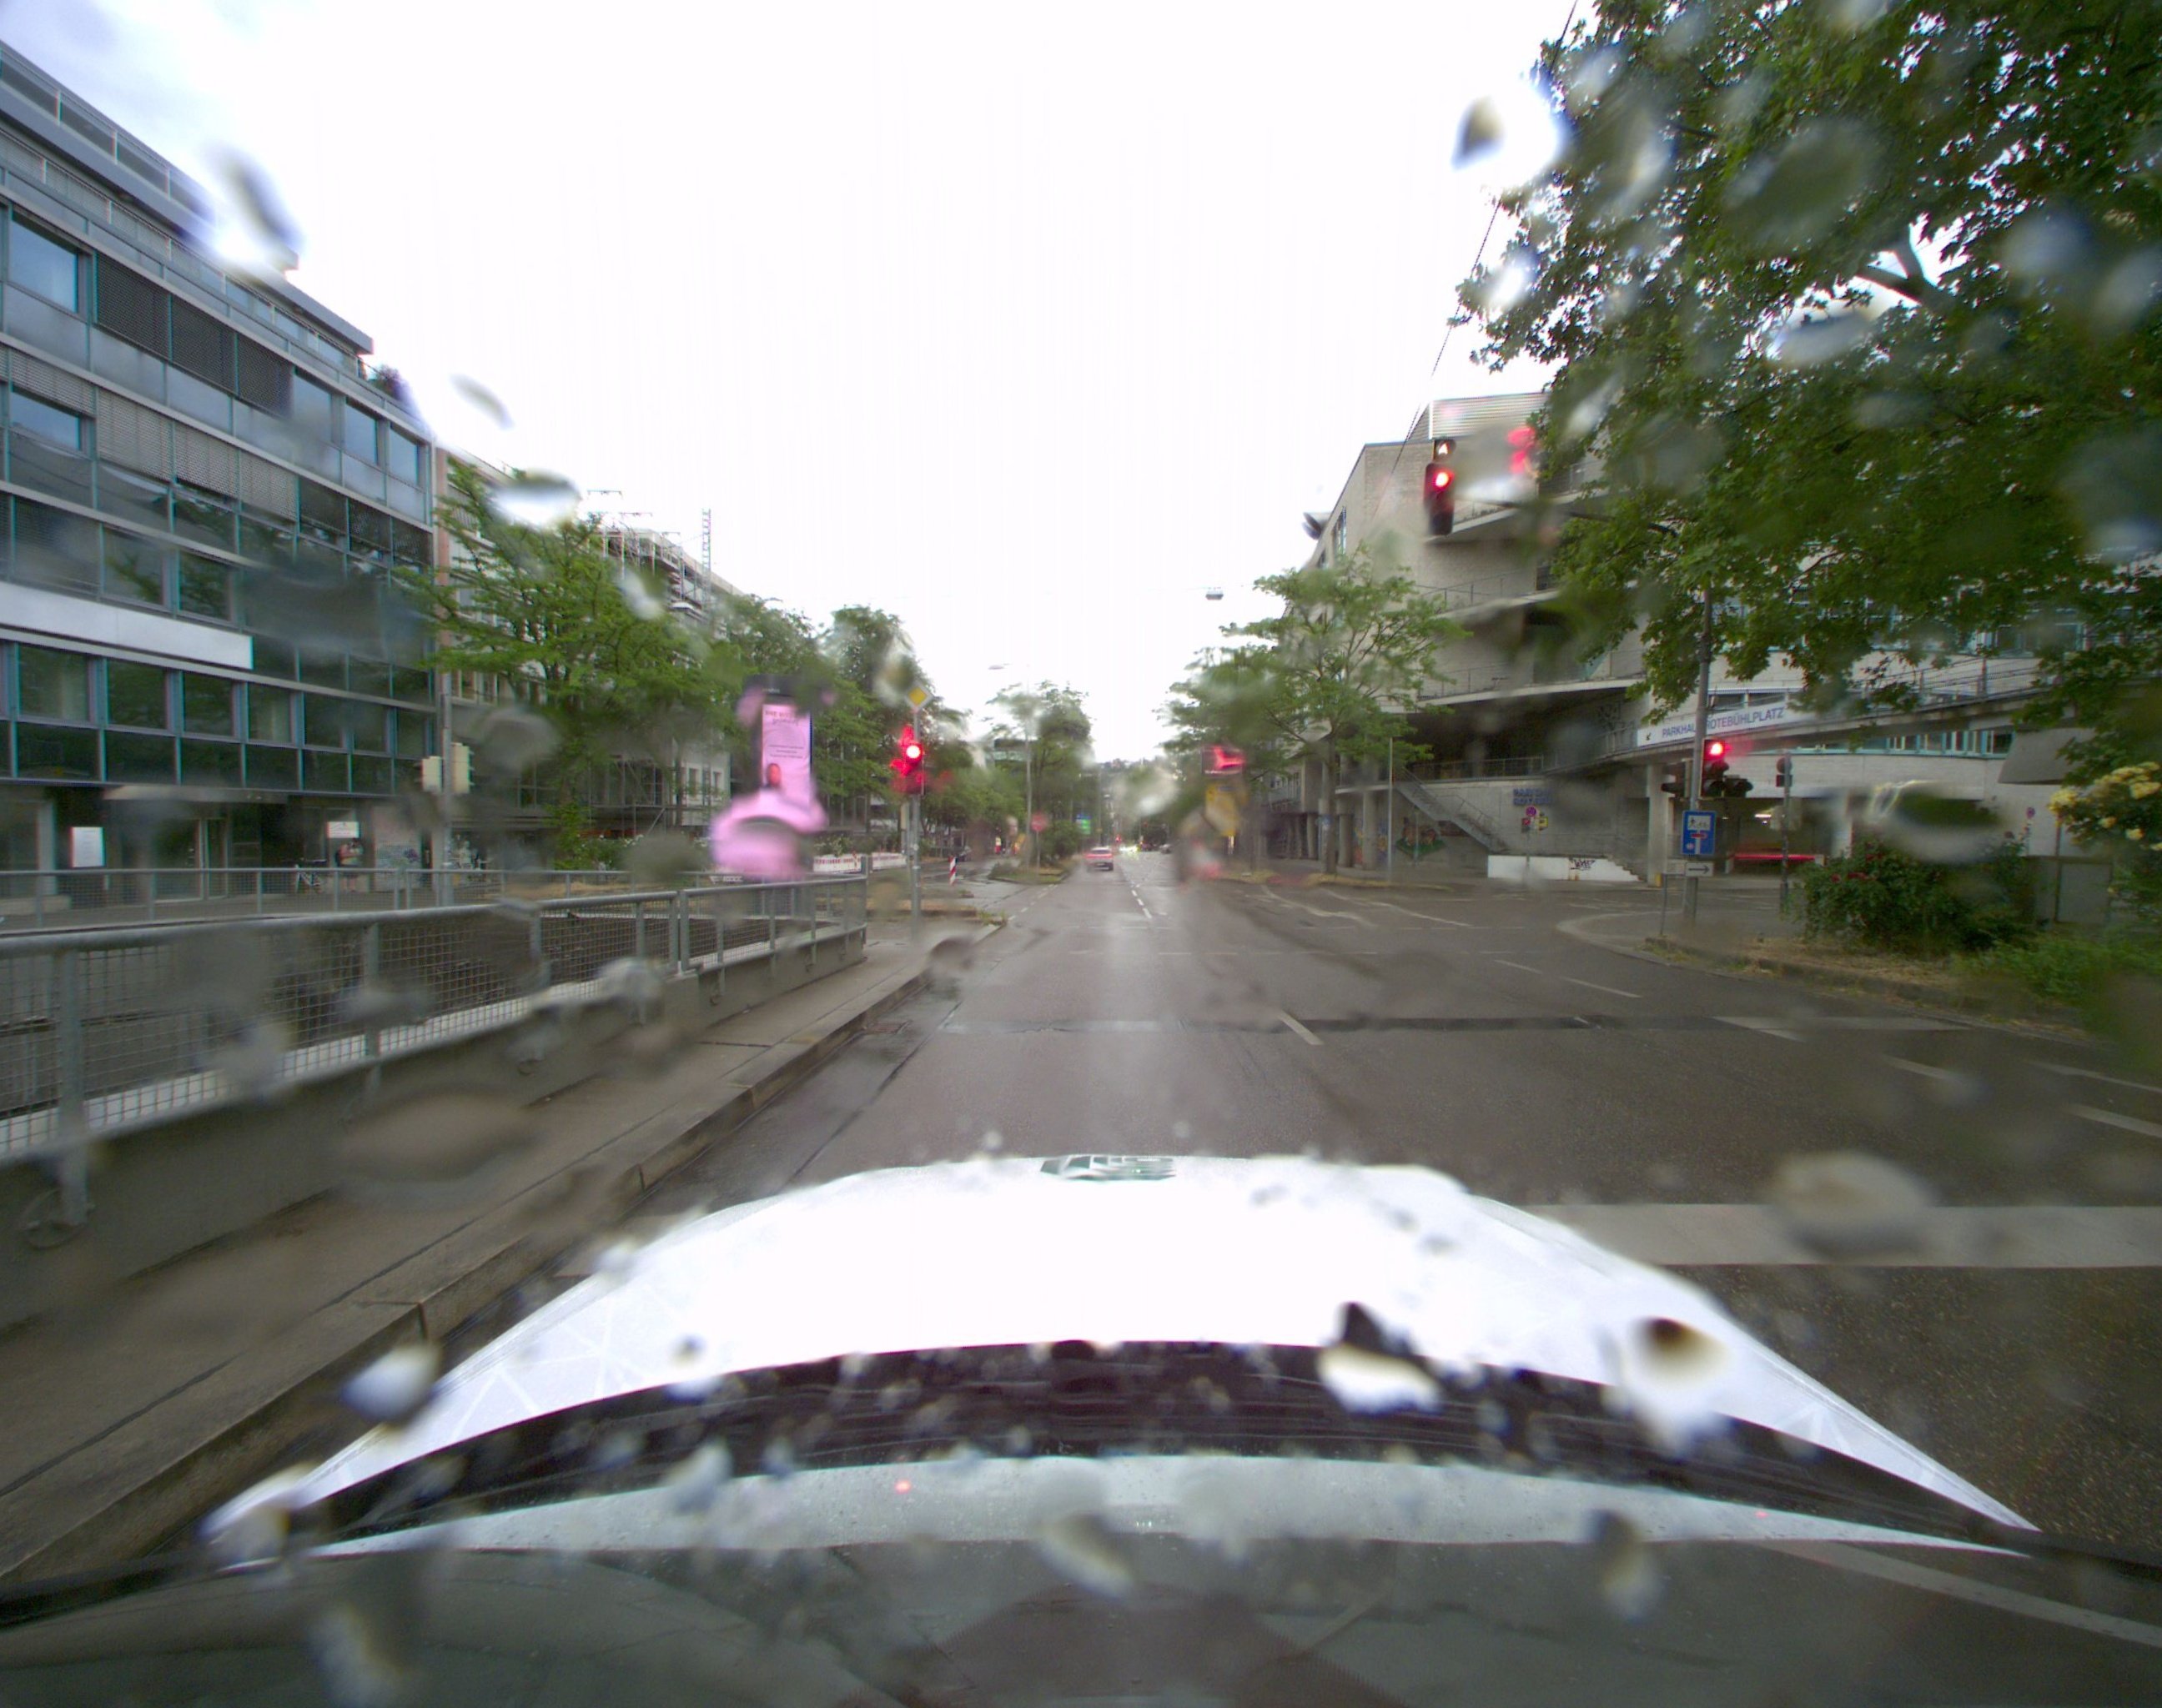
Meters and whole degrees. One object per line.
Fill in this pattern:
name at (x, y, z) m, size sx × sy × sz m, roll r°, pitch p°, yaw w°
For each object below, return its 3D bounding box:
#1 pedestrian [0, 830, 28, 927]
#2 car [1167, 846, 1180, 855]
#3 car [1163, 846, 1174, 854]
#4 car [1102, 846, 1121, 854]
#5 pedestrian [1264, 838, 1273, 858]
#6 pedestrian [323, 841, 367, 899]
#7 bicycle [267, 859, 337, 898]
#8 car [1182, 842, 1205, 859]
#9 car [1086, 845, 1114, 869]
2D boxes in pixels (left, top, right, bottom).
pedestrian at (-20.782, 0.452, 15.184) m, size 0.854 × 1.838 × 1.060 m, roll 1°, pitch 0°, yaw 2°
car at (17.628, -0.656, 155.103) m, size 1.986 × 1.723 × 4.001 m, roll 0°, pitch -1°, yaw 1°
car at (17.866, -0.797, 166.640) m, size 1.986 × 1.736 × 4.001 m, roll 0°, pitch -1°, yaw 2°
car at (7.203, -0.910, 189.684) m, size 4.015 × 1.758 × 1.980 m, roll 1°, pitch 0°, yaw -33°
pedestrian at (18.081, -0.607, 78.478) m, size 0.770 × 1.920 × 0.705 m, roll -1°, pitch -1°, yaw 11°
pedestrian at (-22.809, 0.486, 25.237) m, size 0.694 × 1.741 × 0.694 m, roll 1°, pitch 0°, yaw -4°
bicycle at (-22.955, 0.713, 24.036) m, size 0.444 × 1.085 × 1.567 m, roll 0°, pitch 0°, yaw 6°
car at (11.537, -0.353, 83.341) m, size 2.324 × 1.691 × 4.010 m, roll 0°, pitch 0°, yaw 9°
car at (1.308, 0.208, 58.028) m, size 1.823 × 1.640 × 4.298 m, roll 1°, pitch 0°, yaw -1°
